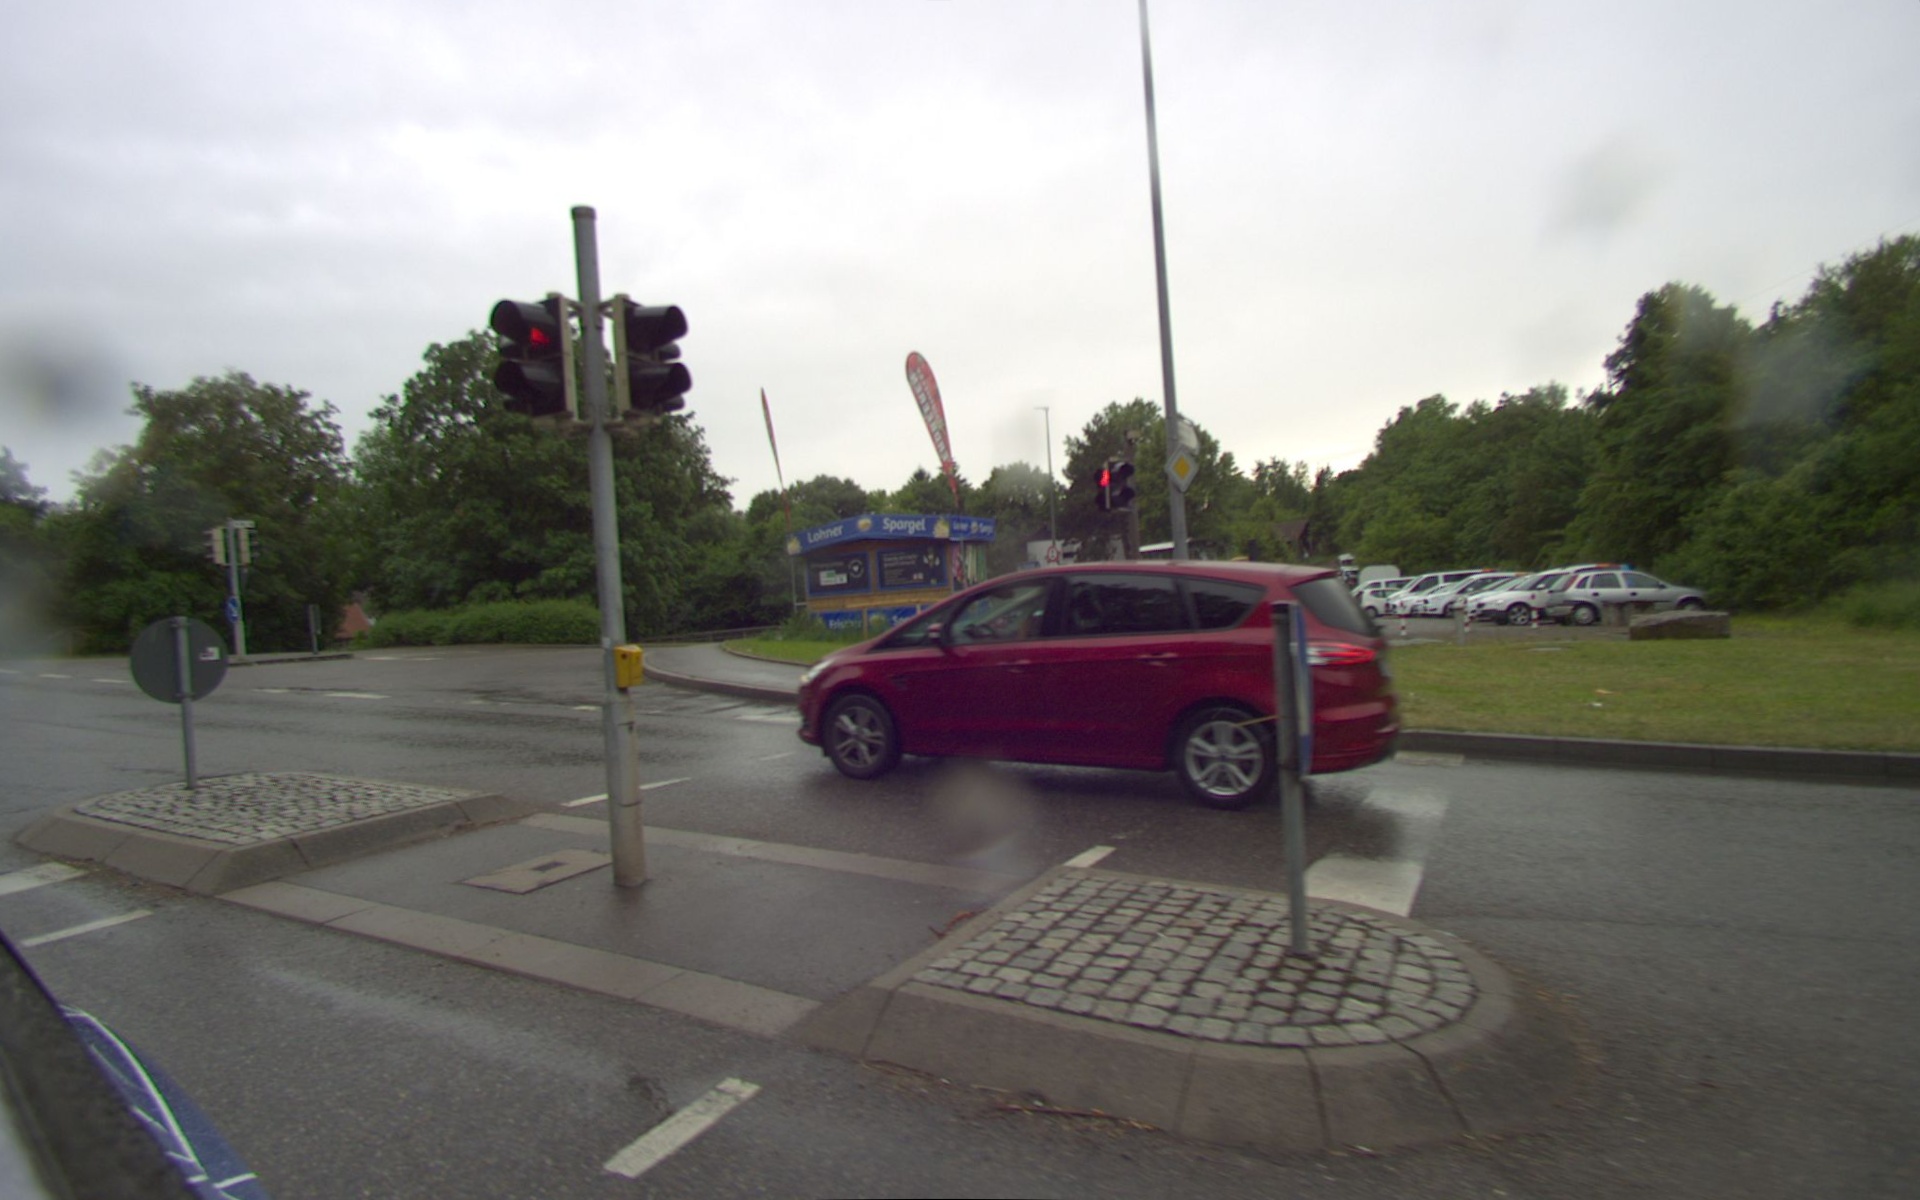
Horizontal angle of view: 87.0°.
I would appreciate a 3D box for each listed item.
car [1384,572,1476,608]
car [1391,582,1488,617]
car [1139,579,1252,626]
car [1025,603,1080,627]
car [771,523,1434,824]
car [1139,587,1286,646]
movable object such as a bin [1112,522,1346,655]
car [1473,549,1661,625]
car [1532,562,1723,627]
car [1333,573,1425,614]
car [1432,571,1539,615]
[{"bbox_3d":[21.090,-0.441,45.514,3.445,1.551,1.442,-1,0,13],"label":"car"},{"bbox_3d":[20.454,-0.035,43.277,3.445,1.409,1.442,-1,0,13],"label":"car"},{"bbox_3d":[9.591,0.101,41.253,4.349,1.779,1.912,-1,0,16],"label":"car"},{"bbox_3d":[6.396,1.043,69.853,3.543,1.522,1.574,-2,0,-34],"label":"car"},{"bbox_3d":[1.005,0.449,7.753,4.660,1.727,1.885,-1,0,28],"label":"car"},{"bbox_3d":[7.240,0.463,29.156,3.962,1.586,1.662,-1,0,15],"label":"car"},{"bbox_3d":[6.031,-0.182,23.694,2.271,2.706,5.721,-1,-1,-21],"label":"movable object such as a bin"},{"bbox_3d":[17.297,-0.357,29.062,4.195,1.995,1.895,-1,0,15],"label":"car"},{"bbox_3d":[17.508,-0.125,26.726,3.788,1.580,1.766,-1,0,15],"label":"car"},{"bbox_3d":[20.936,-0.325,50.723,3.920,1.893,1.688,-1,0,11],"label":"car"},{"bbox_3d":[20.002,-0.267,38.639,3.332,1.551,1.440,-1,0,16],"label":"car"}]
